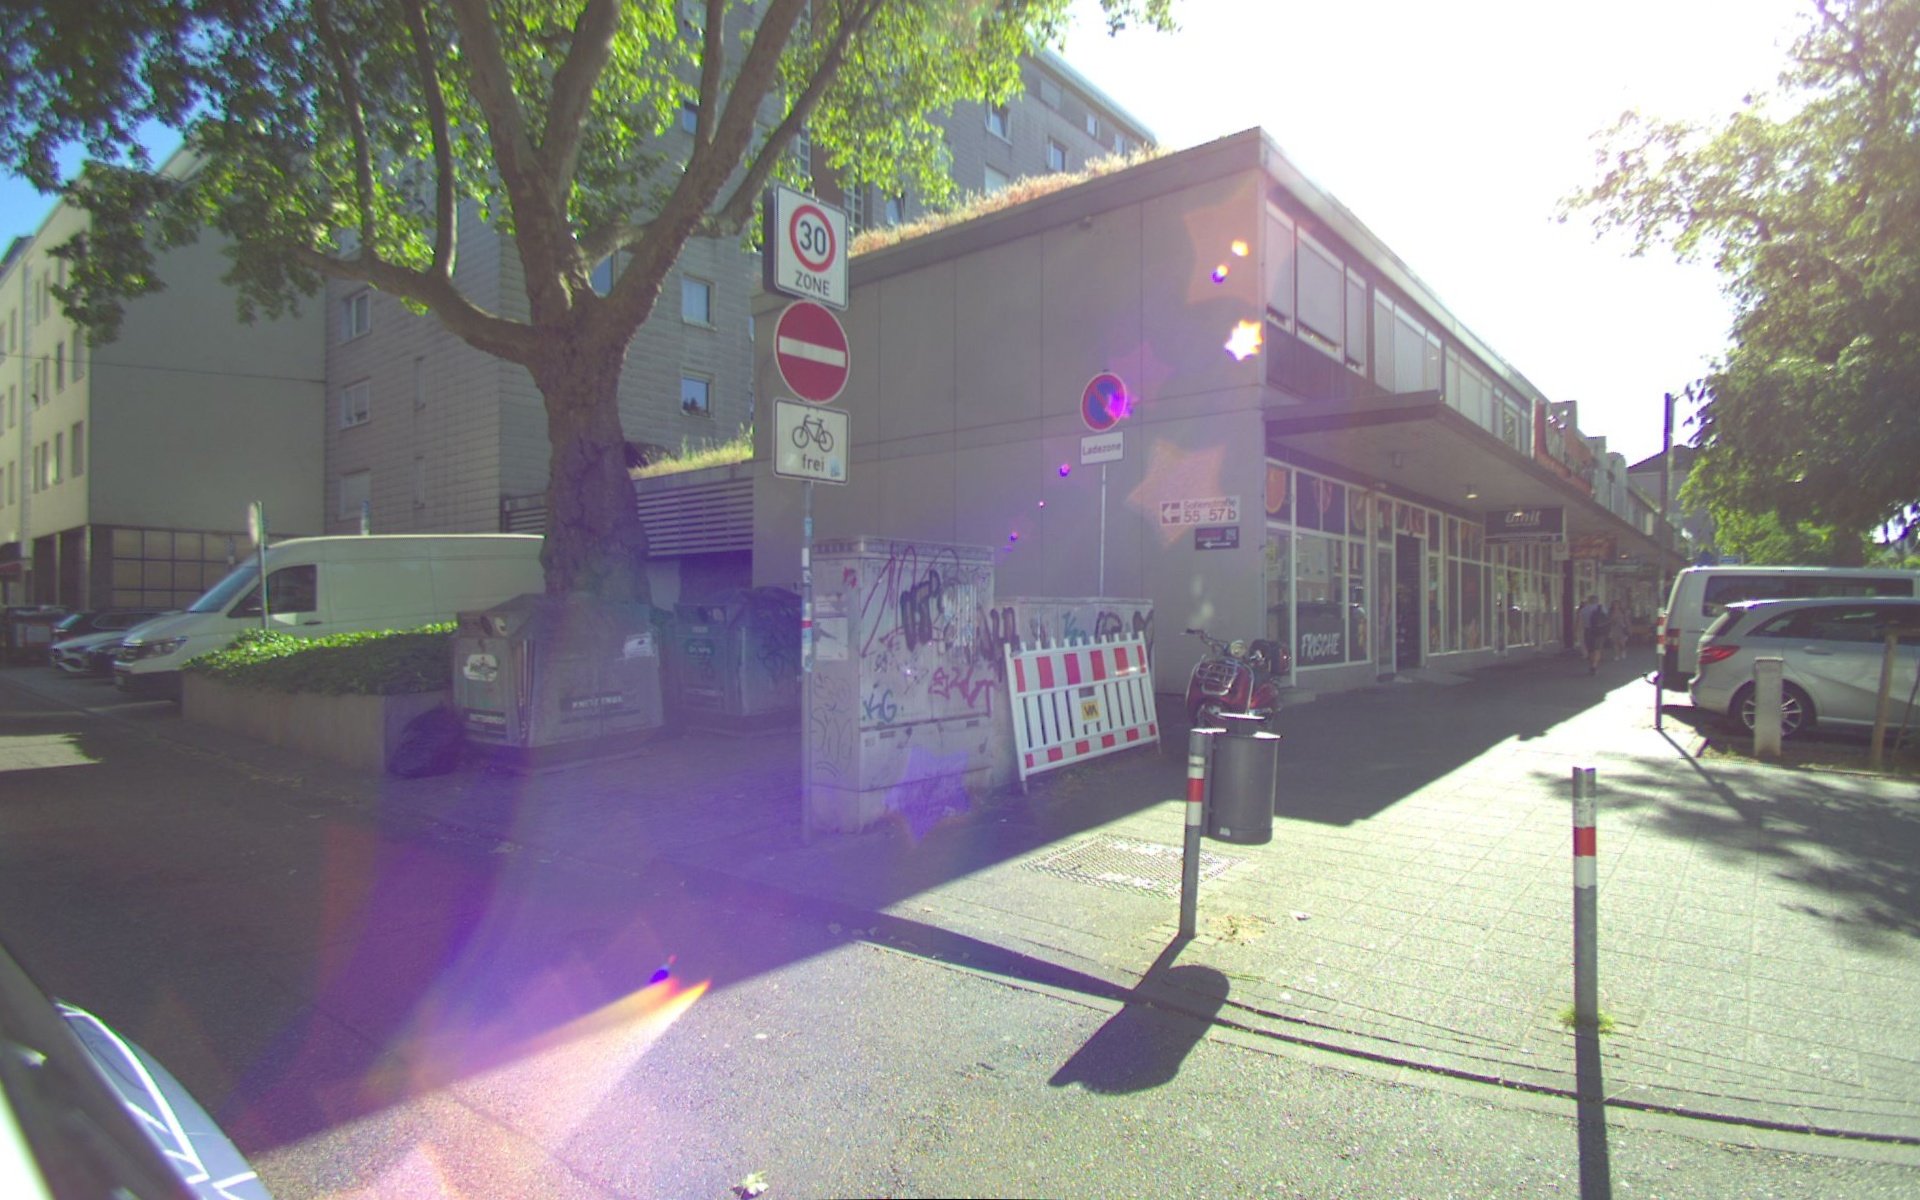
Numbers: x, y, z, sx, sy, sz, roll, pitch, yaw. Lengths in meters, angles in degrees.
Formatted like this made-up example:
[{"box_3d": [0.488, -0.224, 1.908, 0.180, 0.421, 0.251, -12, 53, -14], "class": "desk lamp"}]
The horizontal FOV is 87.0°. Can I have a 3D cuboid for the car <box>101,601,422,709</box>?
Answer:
[{"box_3d": [-12.158, 0.861, 17.890, 1.697, 1.545, 4.361, -1, 1, 38], "class": "car"}]

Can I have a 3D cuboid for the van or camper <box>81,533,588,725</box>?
[{"box_3d": [-9.950, 0.246, 16.906, 1.999, 2.593, 6.836, -2, 2, 40], "class": "van or camper"}]

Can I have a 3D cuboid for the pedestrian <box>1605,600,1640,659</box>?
[{"box_3d": [17.568, 0.765, 26.834, 0.689, 1.533, 0.525, 1, 0, 41], "class": "pedestrian"}]

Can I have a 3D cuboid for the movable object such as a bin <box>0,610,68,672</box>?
[{"box_3d": [-23.554, 1.011, 25.578, 1.193, 1.512, 1.312, -1, -1, 38], "class": "movable object such as a bin"}]

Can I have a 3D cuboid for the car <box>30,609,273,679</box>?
[{"box_3d": [-19.678, 1.010, 24.837, 1.694, 1.545, 4.368, -1, -1, 33], "class": "car"}]

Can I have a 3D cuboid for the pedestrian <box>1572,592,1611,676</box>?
[{"box_3d": [12.895, 0.674, 20.656, 0.566, 1.678, 0.702, 1, 0, 41], "class": "pedestrian"}]

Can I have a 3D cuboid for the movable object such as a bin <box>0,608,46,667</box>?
[{"box_3d": [-24.749, 0.961, 26.326, 1.515, 1.512, 1.207, -1, -1, 38], "class": "movable object such as a bin"}]

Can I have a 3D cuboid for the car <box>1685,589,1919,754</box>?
[{"box_3d": [10.167, 0.707, 10.424, 4.299, 1.625, 1.735, -1, -1, 39], "class": "car"}]

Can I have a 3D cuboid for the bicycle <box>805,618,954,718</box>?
[{"box_3d": [-0.990, 0.834, 12.618, 1.698, 1.162, 0.803, -1, 0, 9], "class": "bicycle"}]

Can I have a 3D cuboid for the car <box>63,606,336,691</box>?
[{"box_3d": [-16.056, 0.955, 21.623, 1.694, 1.629, 4.368, -1, -1, 33], "class": "car"}]

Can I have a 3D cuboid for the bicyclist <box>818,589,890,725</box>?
[{"box_3d": [-1.279, 0.678, 12.279, 0.701, 1.596, 0.529, -1, -1, 25], "class": "bicyclist"}]

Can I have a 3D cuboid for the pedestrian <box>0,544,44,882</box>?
[{"box_3d": [-2.878, 0.622, 2.421, 0.833, 1.585, 0.847, 8, -6, -40], "class": "pedestrian"}]

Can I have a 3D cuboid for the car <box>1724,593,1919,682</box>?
[{"box_3d": [19.469, 0.789, 21.911, 4.637, 1.818, 1.813, 0, -1, 39], "class": "car"}]

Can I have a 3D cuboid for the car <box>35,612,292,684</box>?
[{"box_3d": [-18.078, 1.032, 23.203, 1.595, 1.474, 4.368, -1, -1, 33], "class": "car"}]

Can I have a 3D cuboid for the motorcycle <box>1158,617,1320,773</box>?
[{"box_3d": [2.537, 0.773, 9.045, 0.669, 1.189, 1.896, -1, 0, 40], "class": "motorcycle"}]

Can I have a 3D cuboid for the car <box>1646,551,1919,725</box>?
[{"box_3d": [11.515, 0.448, 12.664, 4.739, 2.021, 1.934, 1, 0, 38], "class": "car"}]
